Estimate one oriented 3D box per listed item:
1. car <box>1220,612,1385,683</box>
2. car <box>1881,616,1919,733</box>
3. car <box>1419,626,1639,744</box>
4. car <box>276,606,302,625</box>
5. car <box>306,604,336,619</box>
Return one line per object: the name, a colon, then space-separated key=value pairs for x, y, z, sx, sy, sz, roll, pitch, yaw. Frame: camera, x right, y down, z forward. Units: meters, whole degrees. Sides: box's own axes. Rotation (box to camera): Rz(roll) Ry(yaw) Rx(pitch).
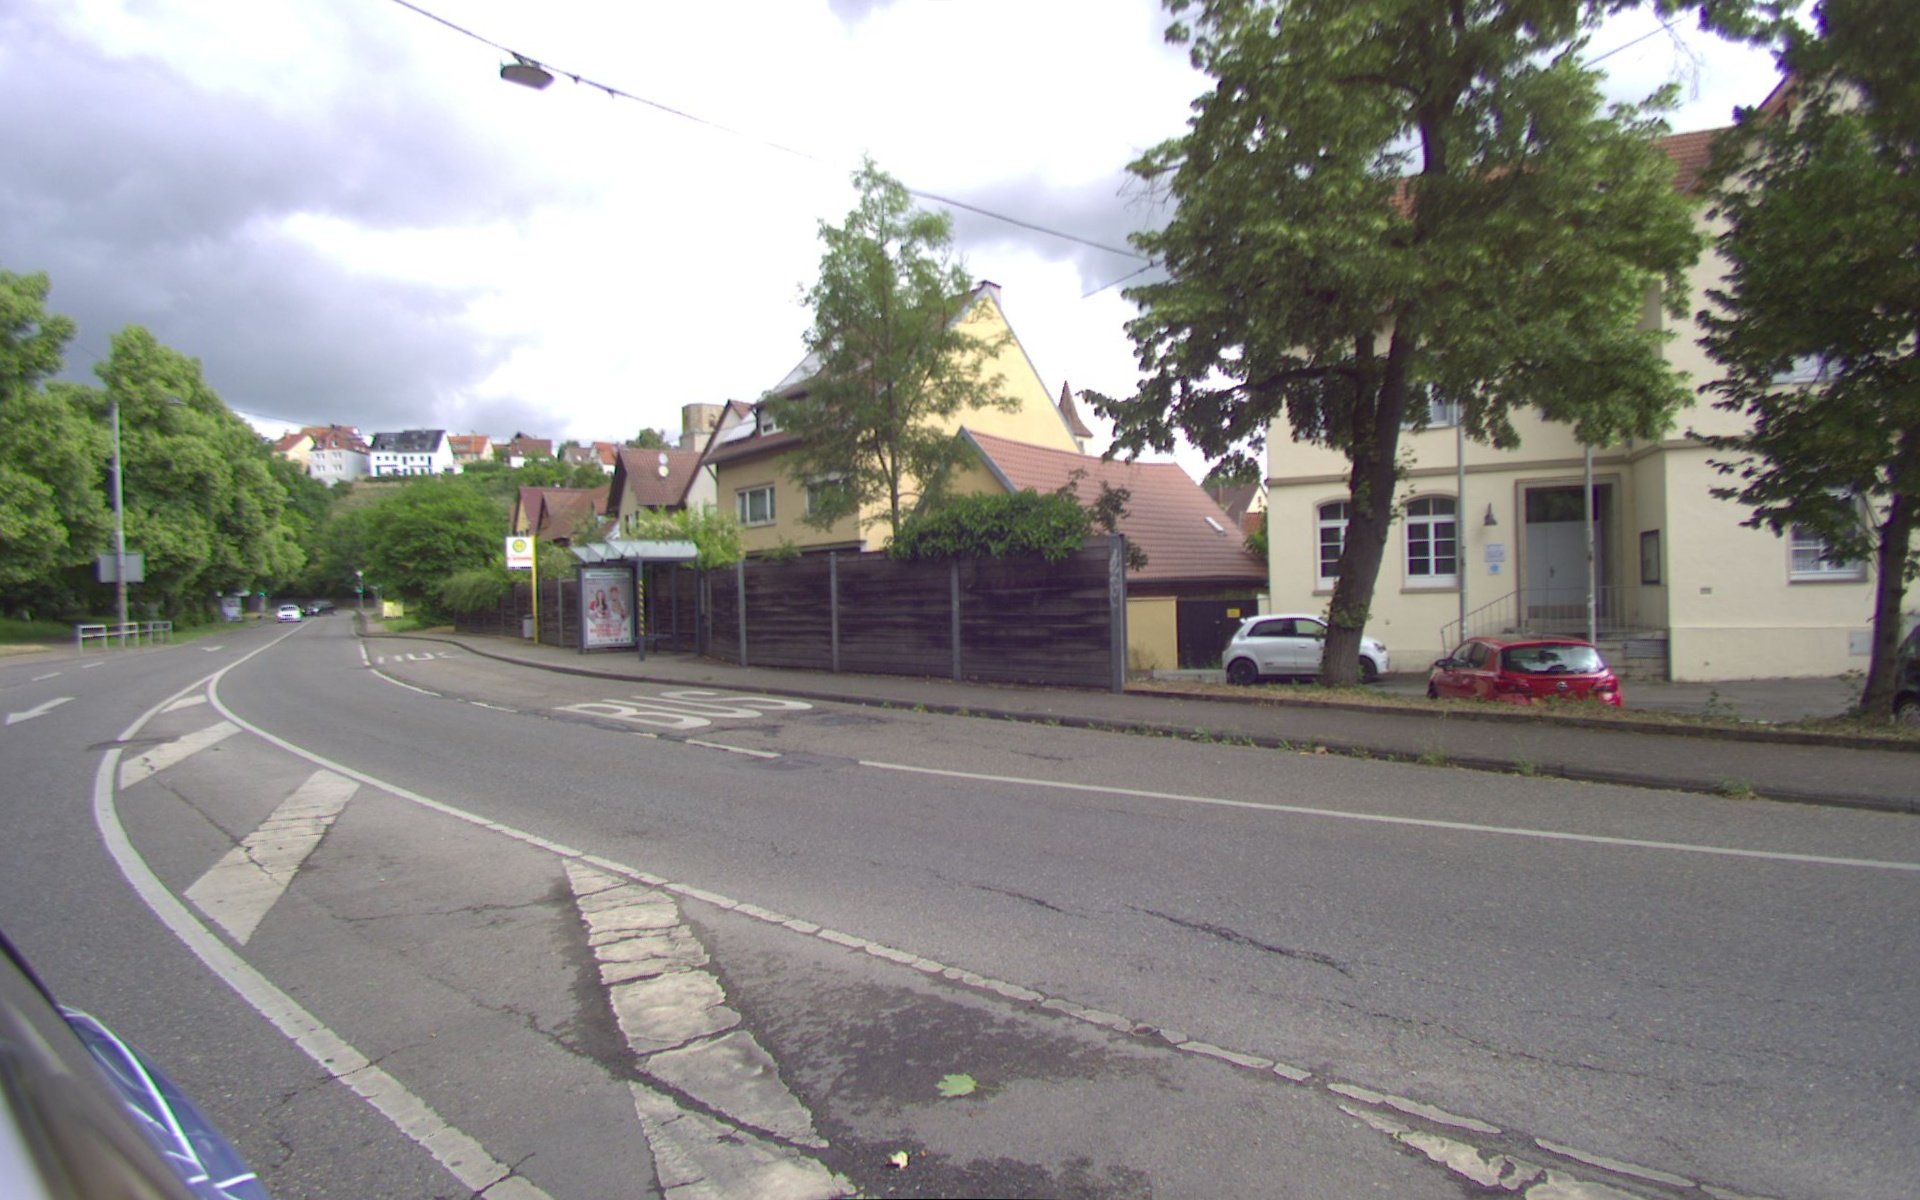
car: x=7.717 y=1.050 z=22.899 sx=3.411 sy=1.490 sz=1.600 roll=-1 pitch=0 yaw=21
car: x=12.630 y=0.930 z=11.318 sx=1.626 sy=1.450 sz=3.567 roll=-1 pitch=0 yaw=7
car: x=8.152 y=1.142 z=14.889 sx=1.644 sy=1.393 sz=3.708 roll=-1 pitch=0 yaw=10
car: x=-58.754 y=1.345 z=88.685 sx=1.735 sy=1.536 sz=3.694 roll=-1 pitch=0 yaw=-31
car: x=-69.031 y=1.194 z=109.367 sx=1.735 sy=1.596 sz=3.693 roll=-1 pitch=0 yaw=-14
